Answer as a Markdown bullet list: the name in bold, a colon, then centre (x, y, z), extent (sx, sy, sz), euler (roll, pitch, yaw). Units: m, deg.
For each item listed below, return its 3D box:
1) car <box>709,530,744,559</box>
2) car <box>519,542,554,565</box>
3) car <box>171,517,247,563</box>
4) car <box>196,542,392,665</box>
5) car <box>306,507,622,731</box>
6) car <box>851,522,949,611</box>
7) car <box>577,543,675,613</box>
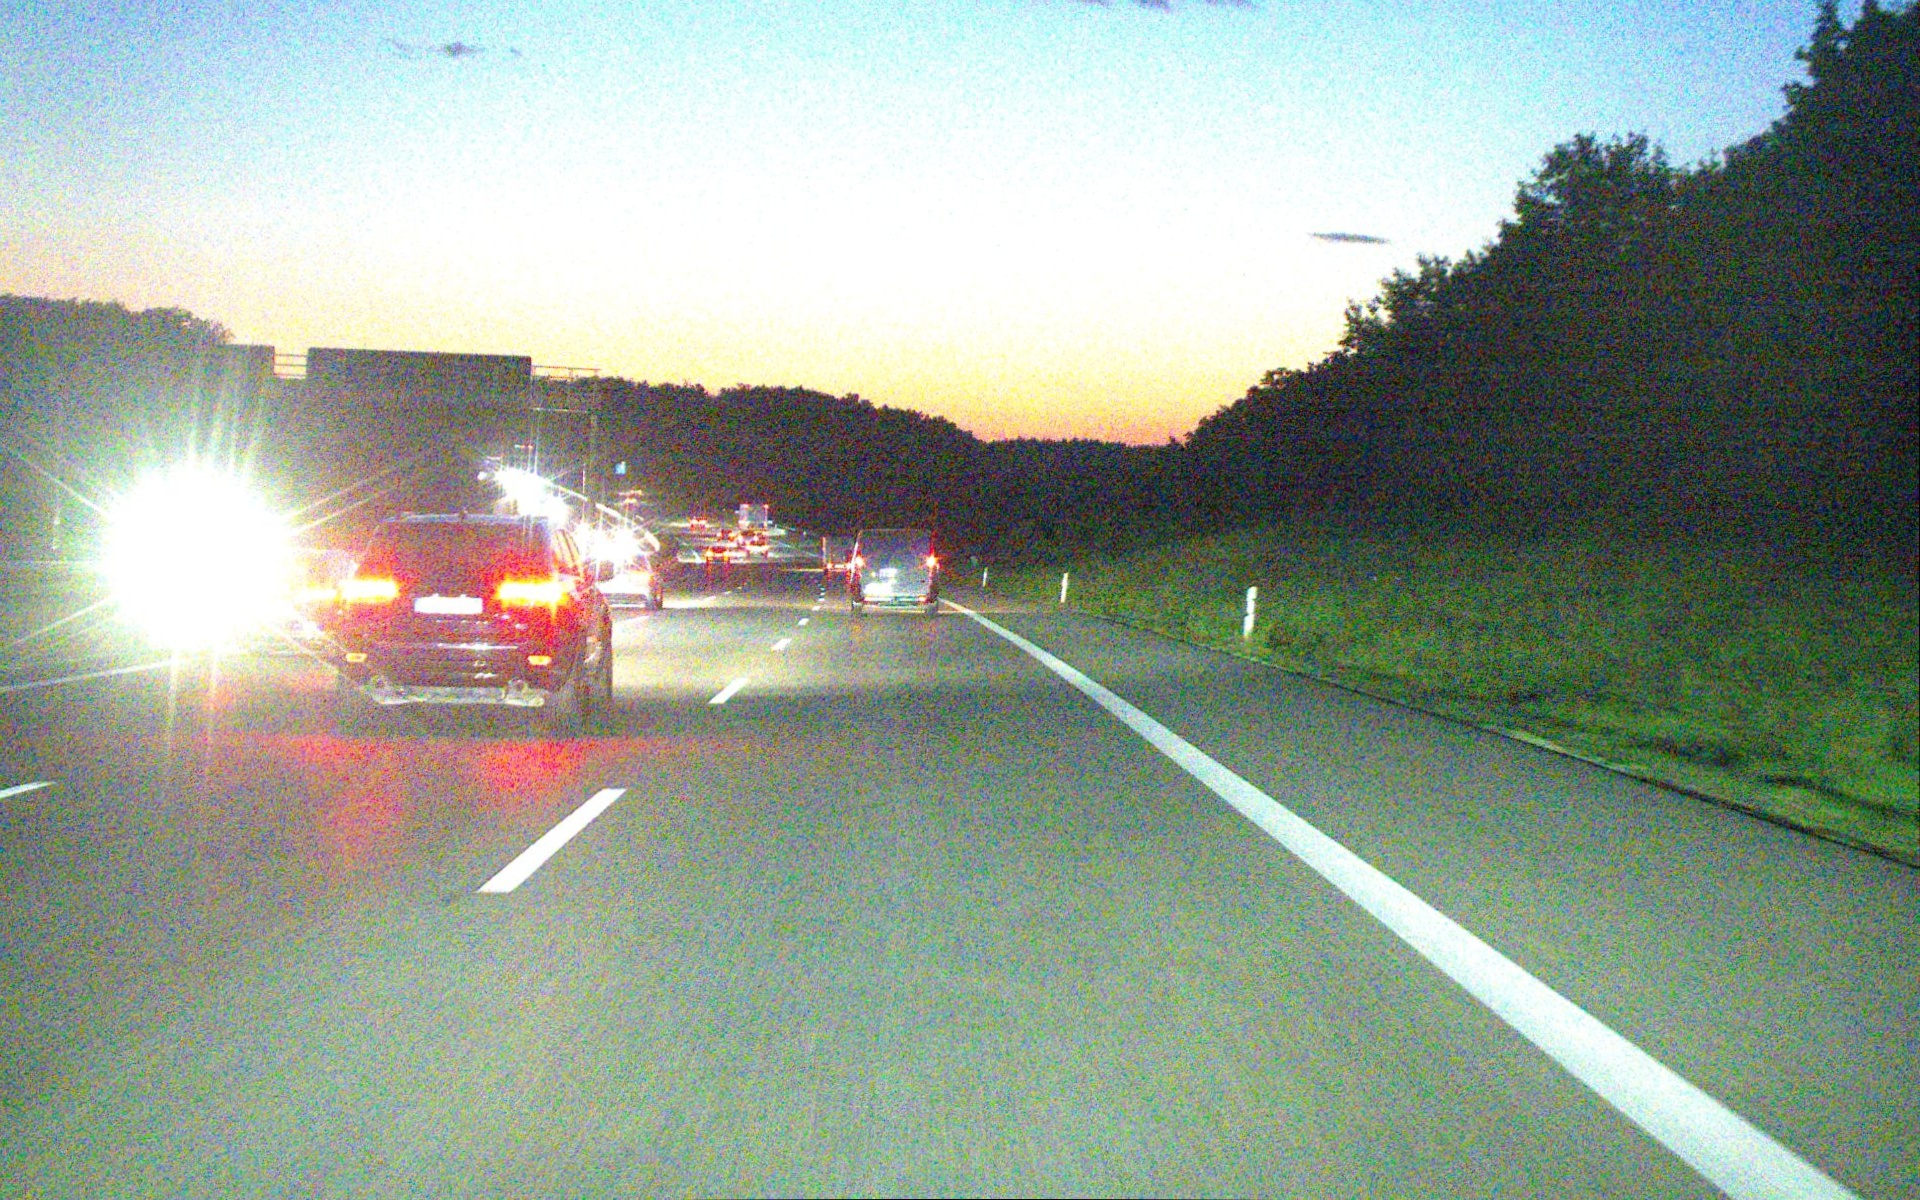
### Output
- **car**: centre (-17.708, -4.234, 261.119), extent (2.197, 1.948, 4.634), euler (3, 2, 0)
- **car**: centre (-29.639, -3.255, 240.569), extent (1.993, 1.504, 5.186), euler (1, 1, -2)
- **car**: centre (-25.823, -2.064, 118.334), extent (1.993, 1.504, 4.001), euler (1, 1, -4)
- **car**: centre (-8.271, 0.010, 43.077), extent (1.549, 1.426, 5.515), euler (0, 1, -2)
- **car**: centre (-4.102, 0.113, 29.397), extent (1.993, 1.715, 5.943), euler (0, 1, -1)
- **car**: centre (-1.371, -0.803, 79.210), extent (2.196, 1.948, 4.764), euler (0, 2, -1)
- **car**: centre (-8.136, -0.572, 84.150), extent (1.779, 1.481, 5.254), euler (3, 2, 0)
